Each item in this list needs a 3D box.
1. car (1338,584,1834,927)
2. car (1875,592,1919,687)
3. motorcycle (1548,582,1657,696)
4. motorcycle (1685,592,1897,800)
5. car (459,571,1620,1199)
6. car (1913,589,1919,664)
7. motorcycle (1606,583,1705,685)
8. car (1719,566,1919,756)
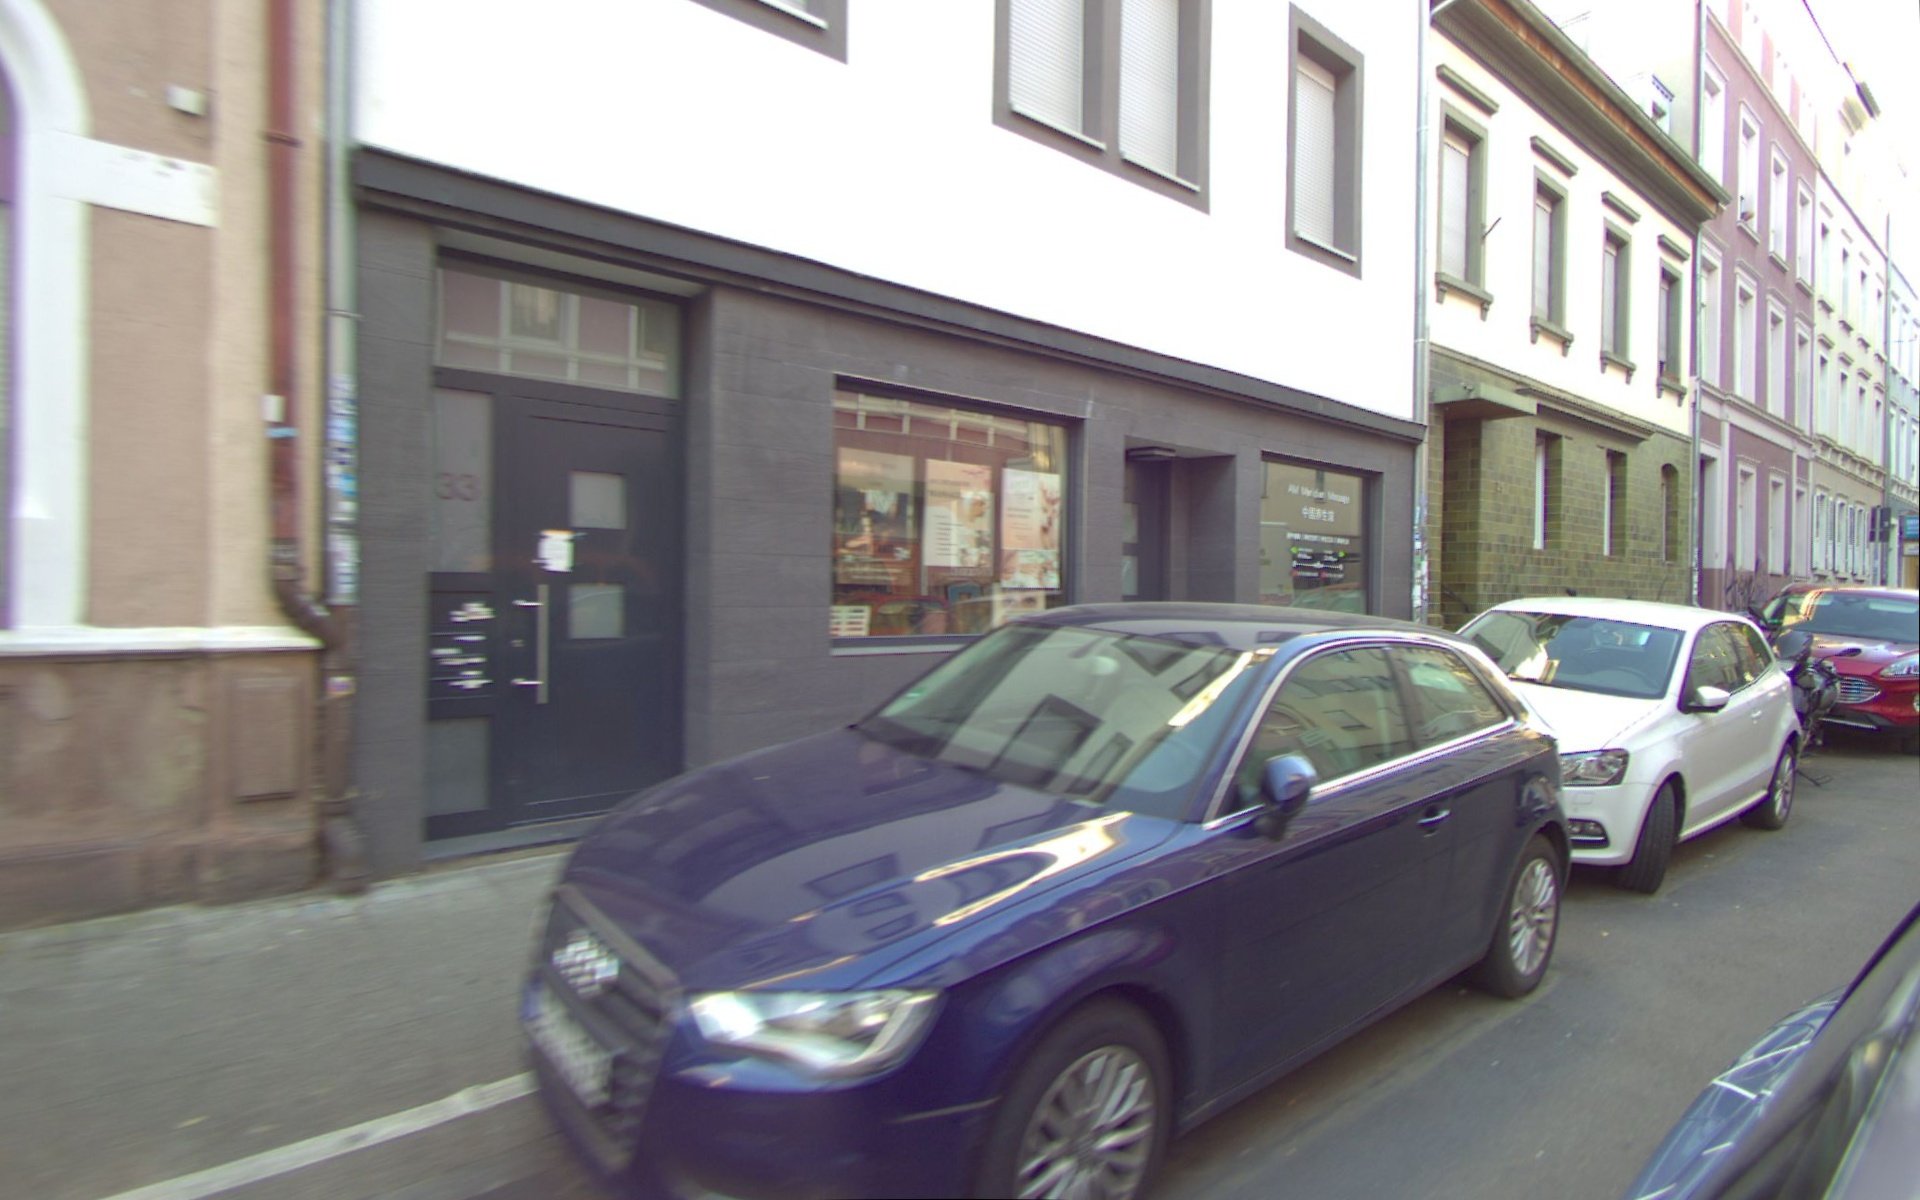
[{"bbox_3d":[4.146,0.692,6.476,3.706,1.522,1.619,-1,3,-41],"label":"car"},{"bbox_3d":[16.230,0.610,16.376,3.813,1.413,1.612,-1,3,-41],"label":"car"},{"bbox_3d":[8.584,0.480,13.488,2.002,1.414,0.666,0,0,-41],"label":"motorcycle"},{"bbox_3d":[7.159,0.712,8.678,2.228,1.508,0.990,0,3,-41],"label":"motorcycle"},{"bbox_3d":[0.591,0.649,3.434,3.813,1.413,1.735,-1,3,-41],"label":"car"},{"bbox_3d":[20.871,0.541,20.664,3.813,1.470,1.612,-1,3,-41],"label":"car"},{"bbox_3d":[10.257,0.461,14.898,2.002,1.414,0.696,0,0,-41],"label":"motorcycle"},{"bbox_3d":[10.244,0.542,11.447,4.331,1.752,1.713,-1,3,-41],"label":"car"}]
